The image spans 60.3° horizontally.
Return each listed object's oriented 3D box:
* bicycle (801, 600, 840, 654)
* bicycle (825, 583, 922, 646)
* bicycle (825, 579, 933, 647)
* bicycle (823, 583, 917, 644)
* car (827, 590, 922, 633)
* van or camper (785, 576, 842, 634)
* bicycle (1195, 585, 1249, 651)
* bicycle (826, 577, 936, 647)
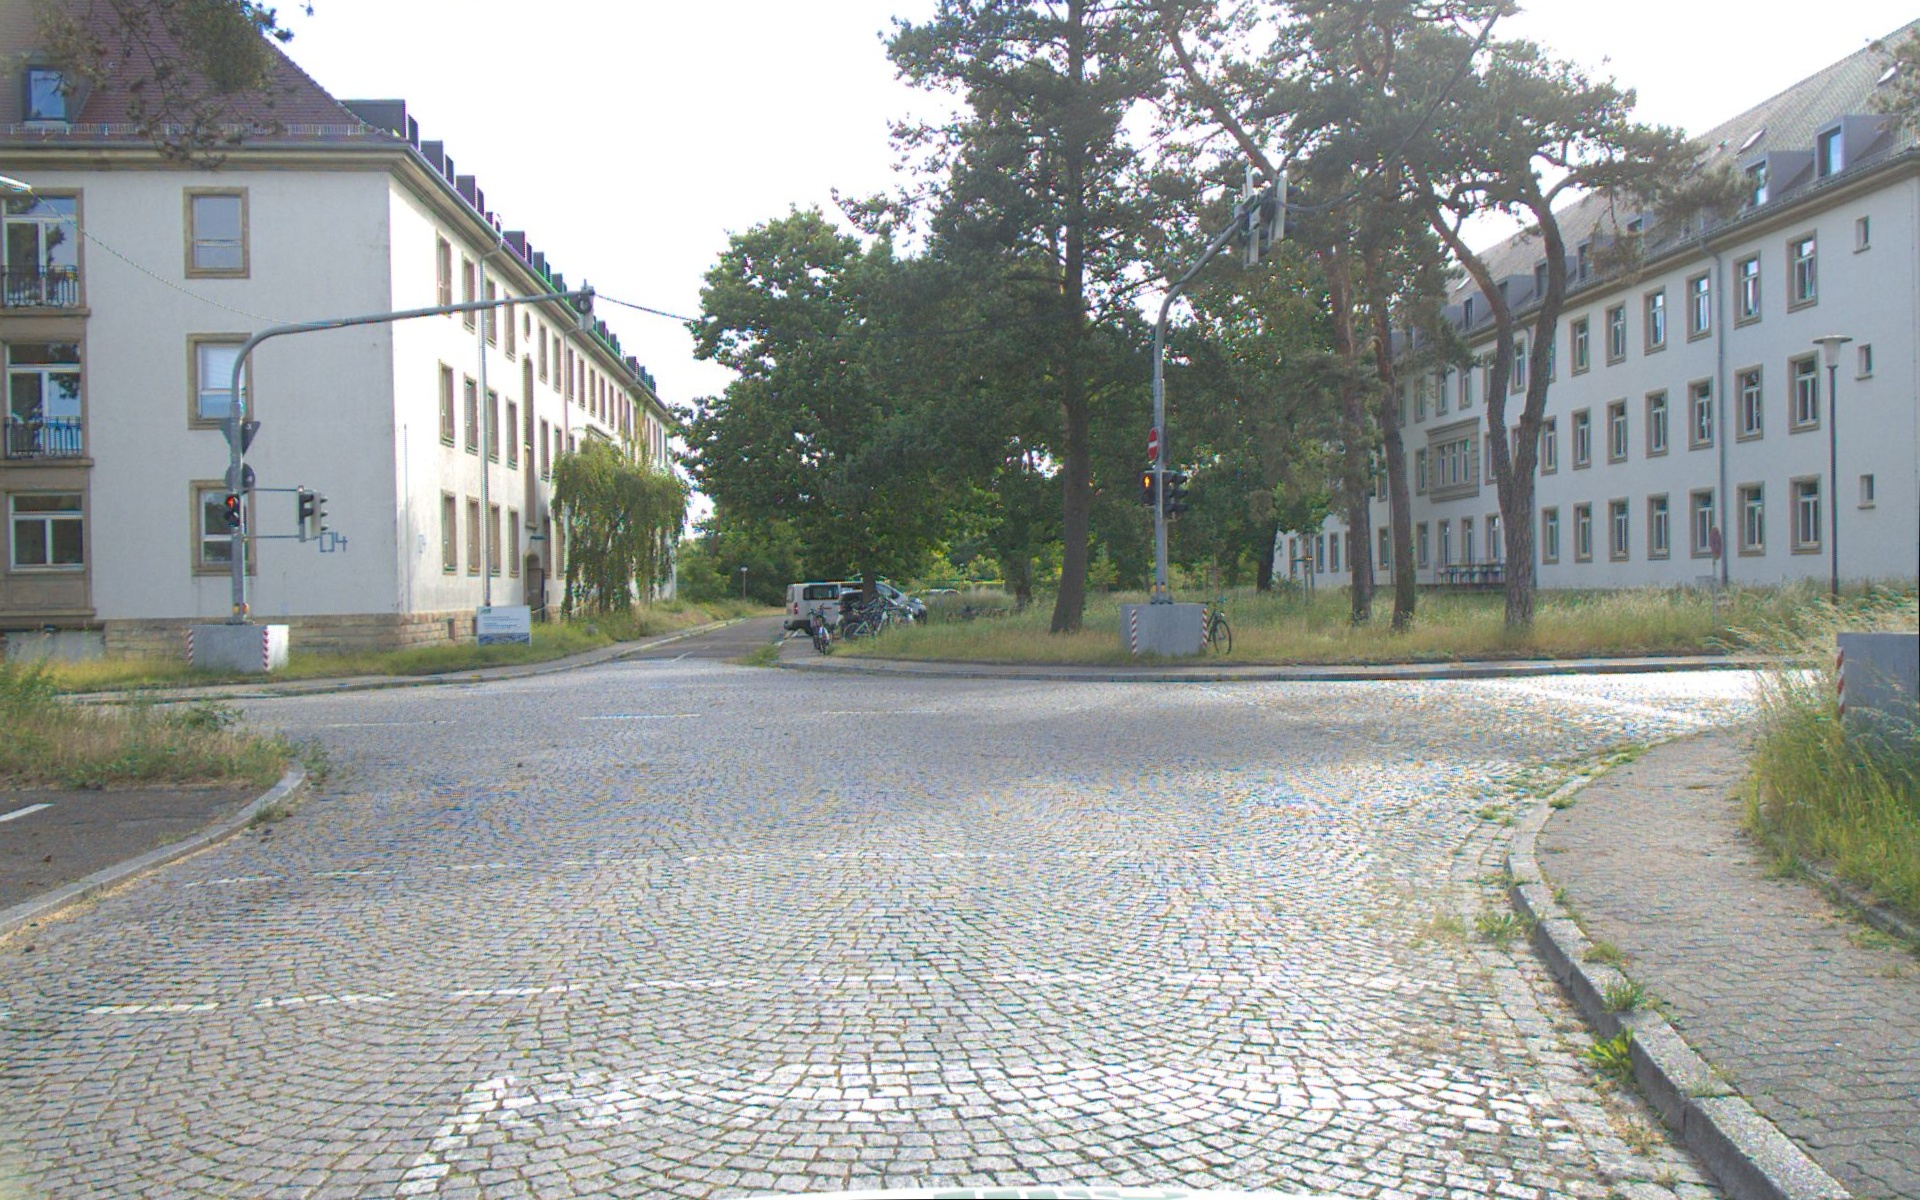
[{"bbox_3d":[-3.222,0.611,38.439,0.711,1.126,2.461,-6,0,-3],"label":"bicycle"},{"bbox_3d":[-2.469,0.412,47.554,2.719,1.724,1.120,1,0,0],"label":"bicycle"},{"bbox_3d":[-2.168,0.327,44.004,2.726,1.723,1.117,-1,0,-12],"label":"bicycle"},{"bbox_3d":[-2.645,0.393,48.882,2.720,1.724,1.119,1,0,-3],"label":"bicycle"},{"bbox_3d":[-2.974,0.380,57.169,3.080,1.378,1.616,-1,0,-10],"label":"car"},{"bbox_3d":[-5.414,0.153,61.174,1.955,1.983,6.045,-1,0,-5],"label":"van or camper"},{"bbox_3d":[4.972,0.333,31.528,0.709,1.189,2.738,1,0,2],"label":"bicycle"},{"bbox_3d":[-2.060,0.304,42.816,2.725,1.723,1.118,-1,0,-10],"label":"bicycle"}]
